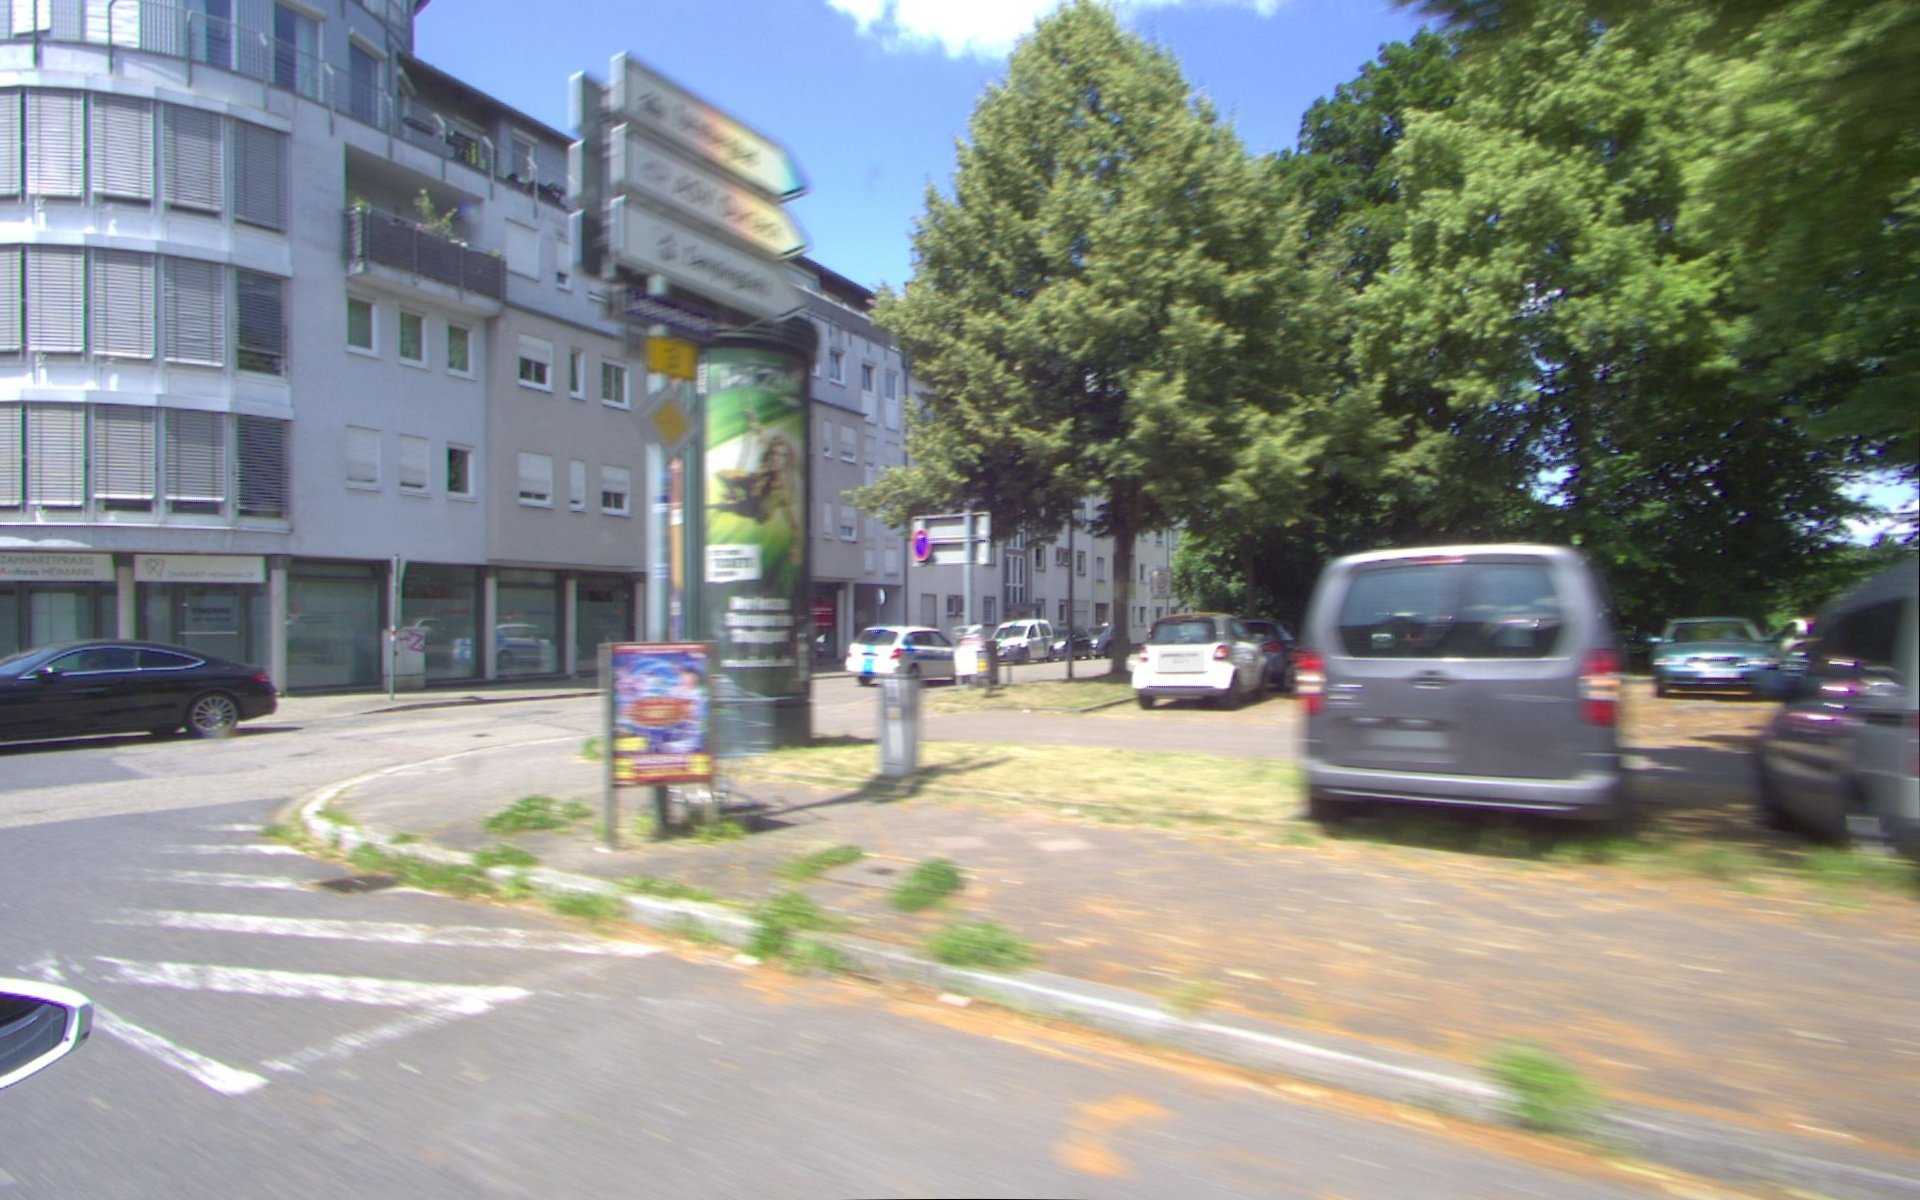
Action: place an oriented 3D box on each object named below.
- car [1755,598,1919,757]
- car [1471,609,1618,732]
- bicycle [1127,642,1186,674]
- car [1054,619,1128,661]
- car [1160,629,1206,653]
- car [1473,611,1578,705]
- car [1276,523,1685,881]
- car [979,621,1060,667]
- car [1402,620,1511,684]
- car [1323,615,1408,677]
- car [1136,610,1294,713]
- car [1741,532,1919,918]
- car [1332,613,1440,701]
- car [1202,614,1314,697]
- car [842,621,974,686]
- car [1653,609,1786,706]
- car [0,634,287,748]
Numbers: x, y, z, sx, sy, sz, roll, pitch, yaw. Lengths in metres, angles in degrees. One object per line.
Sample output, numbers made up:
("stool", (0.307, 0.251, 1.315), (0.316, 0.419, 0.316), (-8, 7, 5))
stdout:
("car", (11.333, 0.835, 12.394), (1.676, 1.701, 3.983), (-1, -1, 29))
("car", (8.651, 0.928, 14.888), (1.656, 1.548, 3.981), (-1, -1, 30))
("bicycle", (6.581, 1.948, 33.613), (0.697, 0.812, 1.910), (1, -10, -37))
("car", (5.998, 1.796, 45.300), (1.604, 1.757, 4.777), (-2, -2, 30))
("car", (13.757, 2.504, 61.592), (1.604, 1.453, 3.989), (-2, -2, 30))
("car", (10.619, 1.021, 18.822), (1.568, 1.574, 3.376), (-1, -1, 30))
("car", (3.772, 0.587, 7.196), (1.987, 1.773, 3.982), (-1, -2, 31))
("car", (2.464, 1.785, 40.689), (1.603, 1.756, 4.369), (-3, -3, 28))
("car", (14.152, 1.426, 28.444), (1.701, 1.689, 3.768), (-2, -2, 44))
("car", (12.106, 1.321, 29.782), (1.843, 1.715, 3.983), (-1, -1, 30))
("car", (4.580, 0.979, 17.557), (1.656, 1.574, 3.981), (-1, -1, 30))
("car", (5.766, 0.564, 5.560), (1.638, 1.689, 3.760), (-1, -1, 29))
("car", (8.488, 1.056, 19.816), (1.568, 1.574, 3.376), (-1, -1, 30))
("car", (6.283, 1.104, 20.961), (1.568, 1.574, 3.058), (-1, -1, 30))
("car", (-1.270, 1.359, 26.128), (1.547, 1.574, 3.983), (-1, -2, 30))
("car", (13.108, 0.977, 17.390), (1.667, 1.486, 3.891), (-1, -3, 36))
("car", (-12.124, 1.155, 13.591), (1.970, 1.382, 4.576), (-1, -2, 30))
